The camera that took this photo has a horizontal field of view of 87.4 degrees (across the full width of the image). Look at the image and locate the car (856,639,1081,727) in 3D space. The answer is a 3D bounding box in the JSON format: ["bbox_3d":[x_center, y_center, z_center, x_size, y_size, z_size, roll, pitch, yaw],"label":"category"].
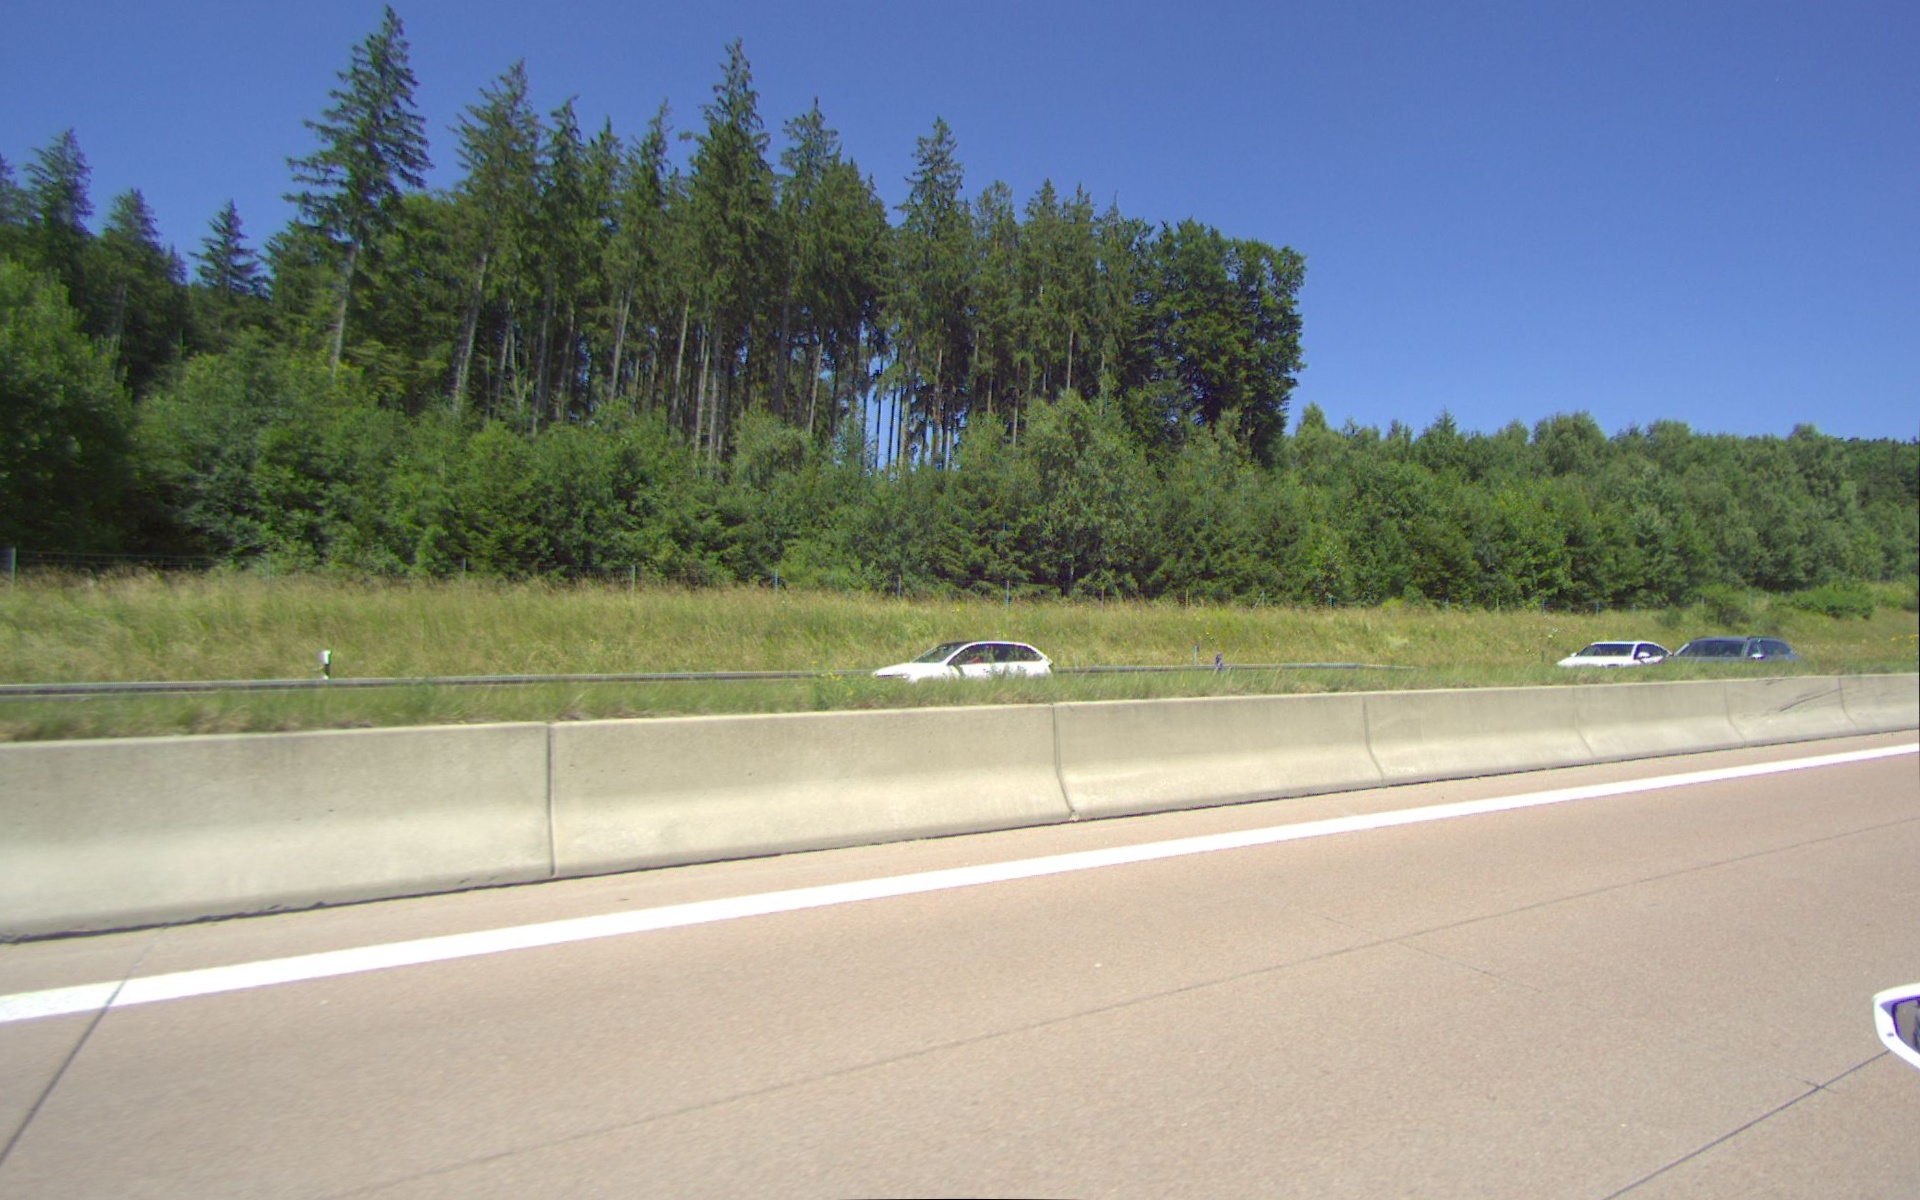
[{"bbox_3d":[0.210,1.654,21.098,4.412,1.615,1.882,1,-1,-30],"label":"car"}]

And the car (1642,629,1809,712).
[{"bbox_3d":[18.305,1.606,23.956,4.418,1.762,1.879,1,-1,-34],"label":"car"}]

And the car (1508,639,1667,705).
[{"bbox_3d":[17.231,1.905,27.551,4.412,1.615,1.882,1,-1,-30],"label":"car"}]
